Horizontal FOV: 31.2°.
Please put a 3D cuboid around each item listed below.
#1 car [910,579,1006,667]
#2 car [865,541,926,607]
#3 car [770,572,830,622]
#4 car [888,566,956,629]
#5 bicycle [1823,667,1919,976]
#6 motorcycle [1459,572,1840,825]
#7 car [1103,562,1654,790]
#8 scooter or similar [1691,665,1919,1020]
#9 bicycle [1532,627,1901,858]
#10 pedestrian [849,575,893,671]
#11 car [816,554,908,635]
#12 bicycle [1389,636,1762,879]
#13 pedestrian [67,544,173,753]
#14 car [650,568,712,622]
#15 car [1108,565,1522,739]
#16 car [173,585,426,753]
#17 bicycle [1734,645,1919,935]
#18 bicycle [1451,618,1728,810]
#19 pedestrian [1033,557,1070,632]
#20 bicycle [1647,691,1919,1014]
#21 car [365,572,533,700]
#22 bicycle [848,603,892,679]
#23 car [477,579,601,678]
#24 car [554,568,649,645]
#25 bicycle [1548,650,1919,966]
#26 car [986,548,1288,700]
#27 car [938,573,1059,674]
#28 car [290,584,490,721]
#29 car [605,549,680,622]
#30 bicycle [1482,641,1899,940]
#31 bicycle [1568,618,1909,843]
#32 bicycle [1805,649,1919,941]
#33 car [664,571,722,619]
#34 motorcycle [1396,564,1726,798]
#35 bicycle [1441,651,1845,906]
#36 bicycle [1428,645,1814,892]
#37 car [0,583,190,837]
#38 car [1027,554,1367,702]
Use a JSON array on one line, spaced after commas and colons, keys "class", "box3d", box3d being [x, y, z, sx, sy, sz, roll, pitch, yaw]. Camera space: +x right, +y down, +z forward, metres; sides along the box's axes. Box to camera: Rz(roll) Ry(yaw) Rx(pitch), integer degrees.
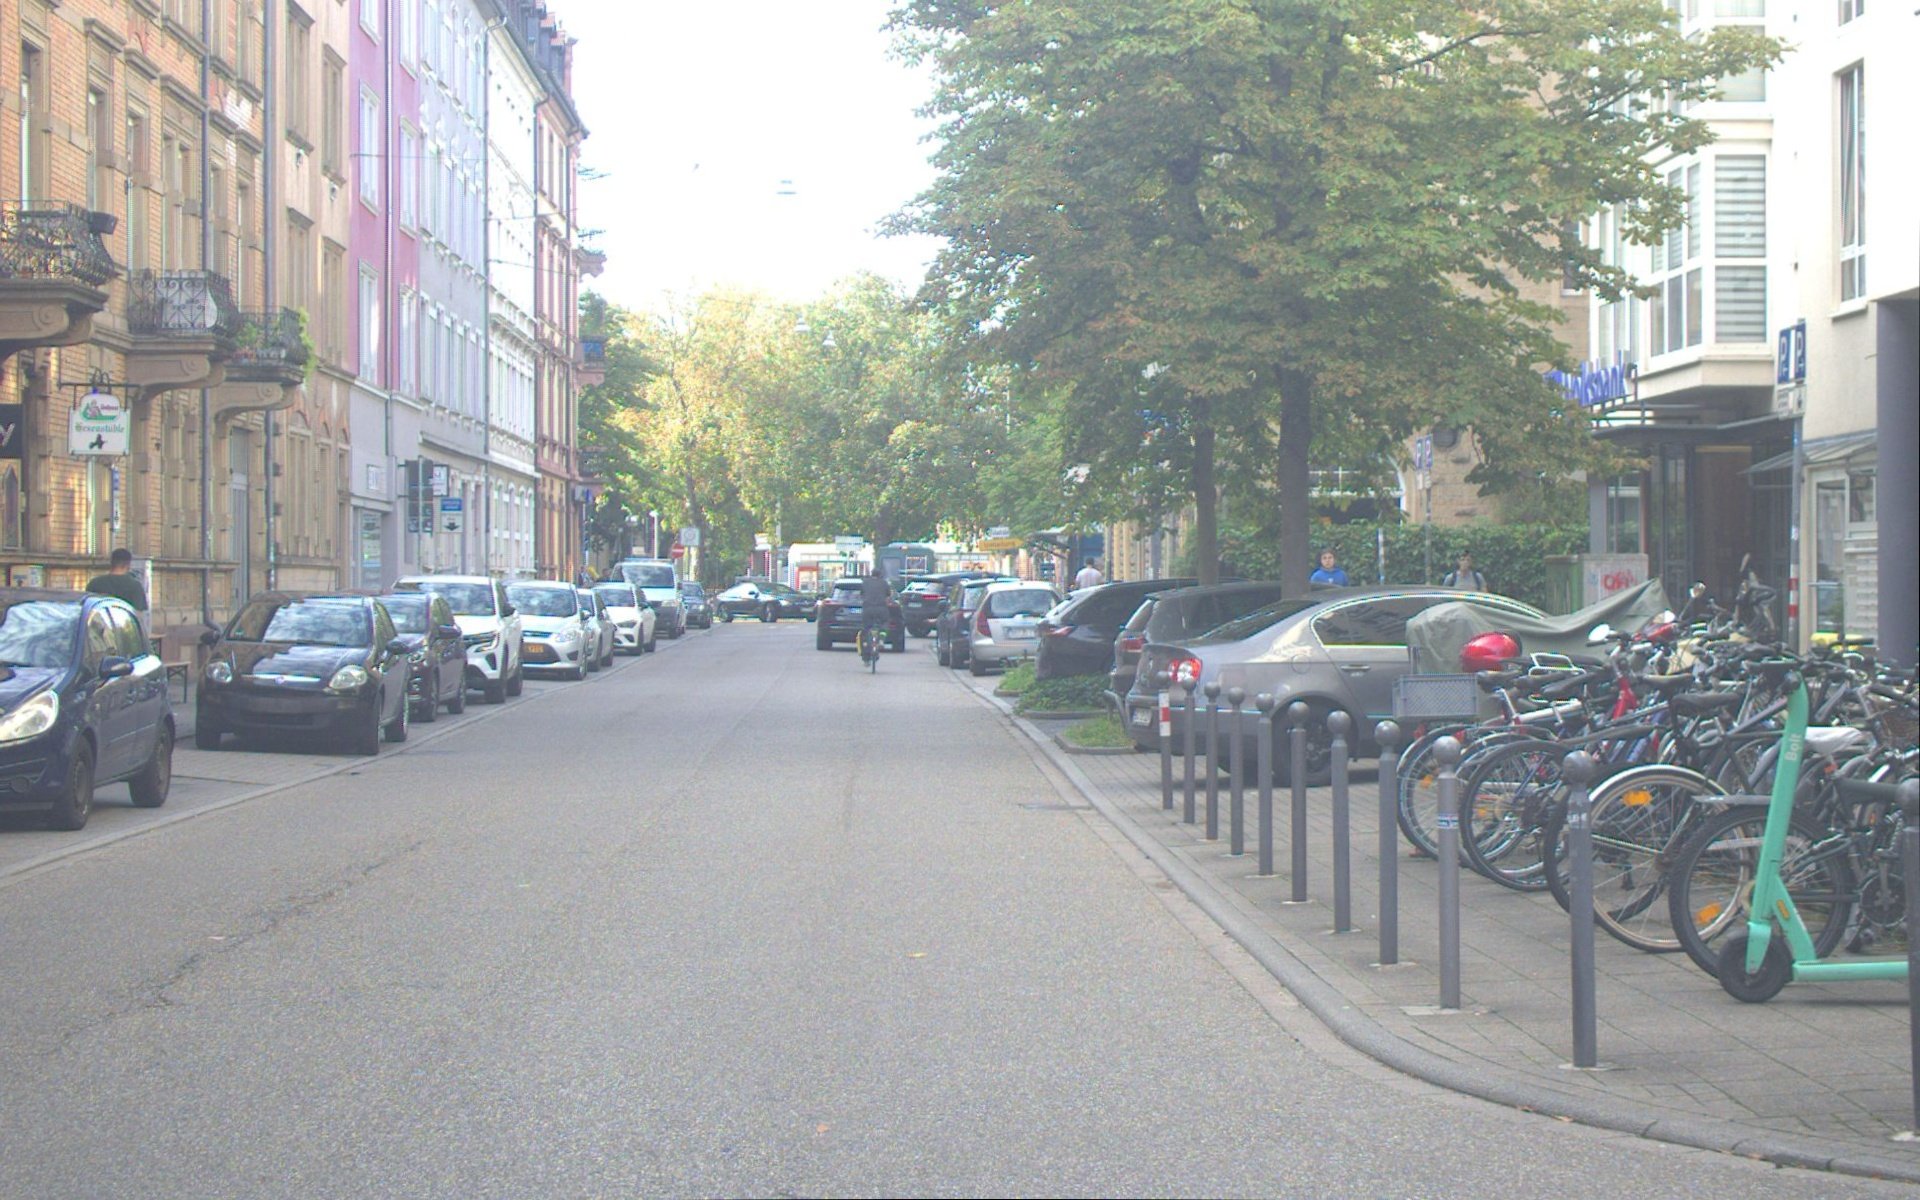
[{"class": "car", "box3d": [-0.061, 0.411, 63.743, 1.690, 1.545, 3.688, 1, 0, -1]}, {"class": "car", "box3d": [-2.026, -0.822, 107.398, 1.782, 2.013, 3.888, 1, 1, -2]}, {"class": "car", "box3d": [-5.412, -0.104, 116.600, 1.855, 1.615, 4.000, 1, 1, -1]}, {"class": "car", "box3d": [-0.998, -0.072, 88.409, 1.587, 1.533, 3.753, 1, 1, -2]}, {"class": "bicycle", "box3d": [4.189, 0.784, 12.783, 1.765, 1.083, 0.650, -2, 1, 1]}, {"class": "motorcycle", "box3d": [4.191, 0.590, 21.013, 2.150, 1.430, 0.765, -2, 1, 3]}, {"class": "car", "box3d": [3.154, 0.560, 26.225, 3.759, 1.541, 1.731, -2, 0, -11]}, {"class": "scooter or similar", "box3d": [3.116, 0.803, 11.507, 1.207, 1.143, 0.378, -2, 2, 30]}, {"class": "bicycle", "box3d": [3.981, 0.753, 18.121, 1.796, 1.155, 0.499, -2, 1, 25]}, {"class": "pedestrian", "box3d": [-1.556, 0.396, 60.087, 0.718, 1.644, 0.930, 1, 1, -1]}, {"class": "car", "box3d": [-2.172, -0.121, 75.958, 1.965, 1.735, 4.041, 0, 0, -2]}, {"class": "bicycle", "box3d": [3.156, 0.804, 17.699, 1.794, 1.155, 0.500, -2, 1, 2]}, {"class": "pedestrian", "box3d": [-7.580, 0.428, 31.046, 0.689, 1.847, 0.931, 1, 1, 0]}, {"class": "car", "box3d": [-8.403, -0.152, 103.736, 1.690, 1.545, 3.867, 1, 0, -2]}, {"class": "car", "box3d": [3.537, 0.503, 34.703, 3.987, 1.578, 2.000, -2, 0, 4]}, {"class": "car", "box3d": [-6.205, 0.612, 32.660, 1.690, 1.365, 3.867, 4, 0, -2]}, {"class": "bicycle", "box3d": [4.176, 0.767, 14.609, 1.765, 1.142, 0.411, -3, 1, -21]}, {"class": "bicycle", "box3d": [4.086, 0.734, 22.373, 1.664, 1.155, 0.557, -2, 1, 0]}, {"class": "pedestrian", "box3d": [2.714, -0.169, 102.127, 0.995, 2.222, 0.898, 1, 1, -1]}, {"class": "bicycle", "box3d": [3.363, 0.859, 12.125, 1.765, 1.053, 0.411, -2, 1, -6]}, {"class": "car", "box3d": [-6.612, 0.429, 44.805, 1.690, 1.545, 3.867, 1, 1, -2]}, {"class": "bicycle", "box3d": [-1.564, 0.700, 60.080, 0.718, 1.270, 1.884, 1, 1, -1]}, {"class": "car", "box3d": [-6.903, 0.451, 56.675, 1.690, 1.545, 3.867, 1, 0, -2]}, {"class": "car", "box3d": [-7.488, 0.121, 72.129, 1.690, 1.545, 3.867, 1, 0, -2]}, {"class": "bicycle", "box3d": [3.114, 0.805, 13.503, 1.495, 1.142, 0.411, -2, 1, -6]}, {"class": "car", "box3d": [2.417, 0.313, 47.060, 3.987, 1.678, 1.737, -2, 8, 3]}, {"class": "car", "box3d": [0.635, 0.375, 59.348, 1.930, 1.632, 4.000, 1, 1, -1]}, {"class": "car", "box3d": [-6.526, 0.573, 39.700, 1.690, 1.365, 3.867, 4, 0, -2]}, {"class": "car", "box3d": [-8.153, -0.371, 88.483, 1.690, 1.815, 3.867, 1, 0, -2]}, {"class": "bicycle", "box3d": [3.122, 0.790, 14.655, 1.765, 1.142, 0.411, -3, 1, -21]}, {"class": "bicycle", "box3d": [4.298, 0.714, 19.034, 1.732, 1.155, 0.500, -2, 1, 0]}, {"class": "bicycle", "box3d": [4.414, 0.761, 14.110, 1.765, 1.142, 0.411, -2, 1, -7]}, {"class": "car", "box3d": [-8.922, -0.174, 115.037, 1.587, 1.533, 3.753, 1, 1, 0]}, {"class": "motorcycle", "box3d": [4.173, 0.557, 23.995, 2.150, 1.525, 0.686, -2, 1, 3]}, {"class": "bicycle", "box3d": [3.172, 0.825, 16.020, 1.765, 1.096, 0.411, -2, 1, 2]}, {"class": "bicycle", "box3d": [3.212, 0.817, 16.766, 1.765, 1.115, 0.411, -2, 1, 2]}, {"class": "car", "box3d": [-6.162, 0.631, 22.003, 1.690, 1.432, 3.867, 1, 1, -2]}, {"class": "car", "box3d": [2.883, 0.327, 42.021, 3.987, 1.634, 2.000, -2, 0, 4]}]
